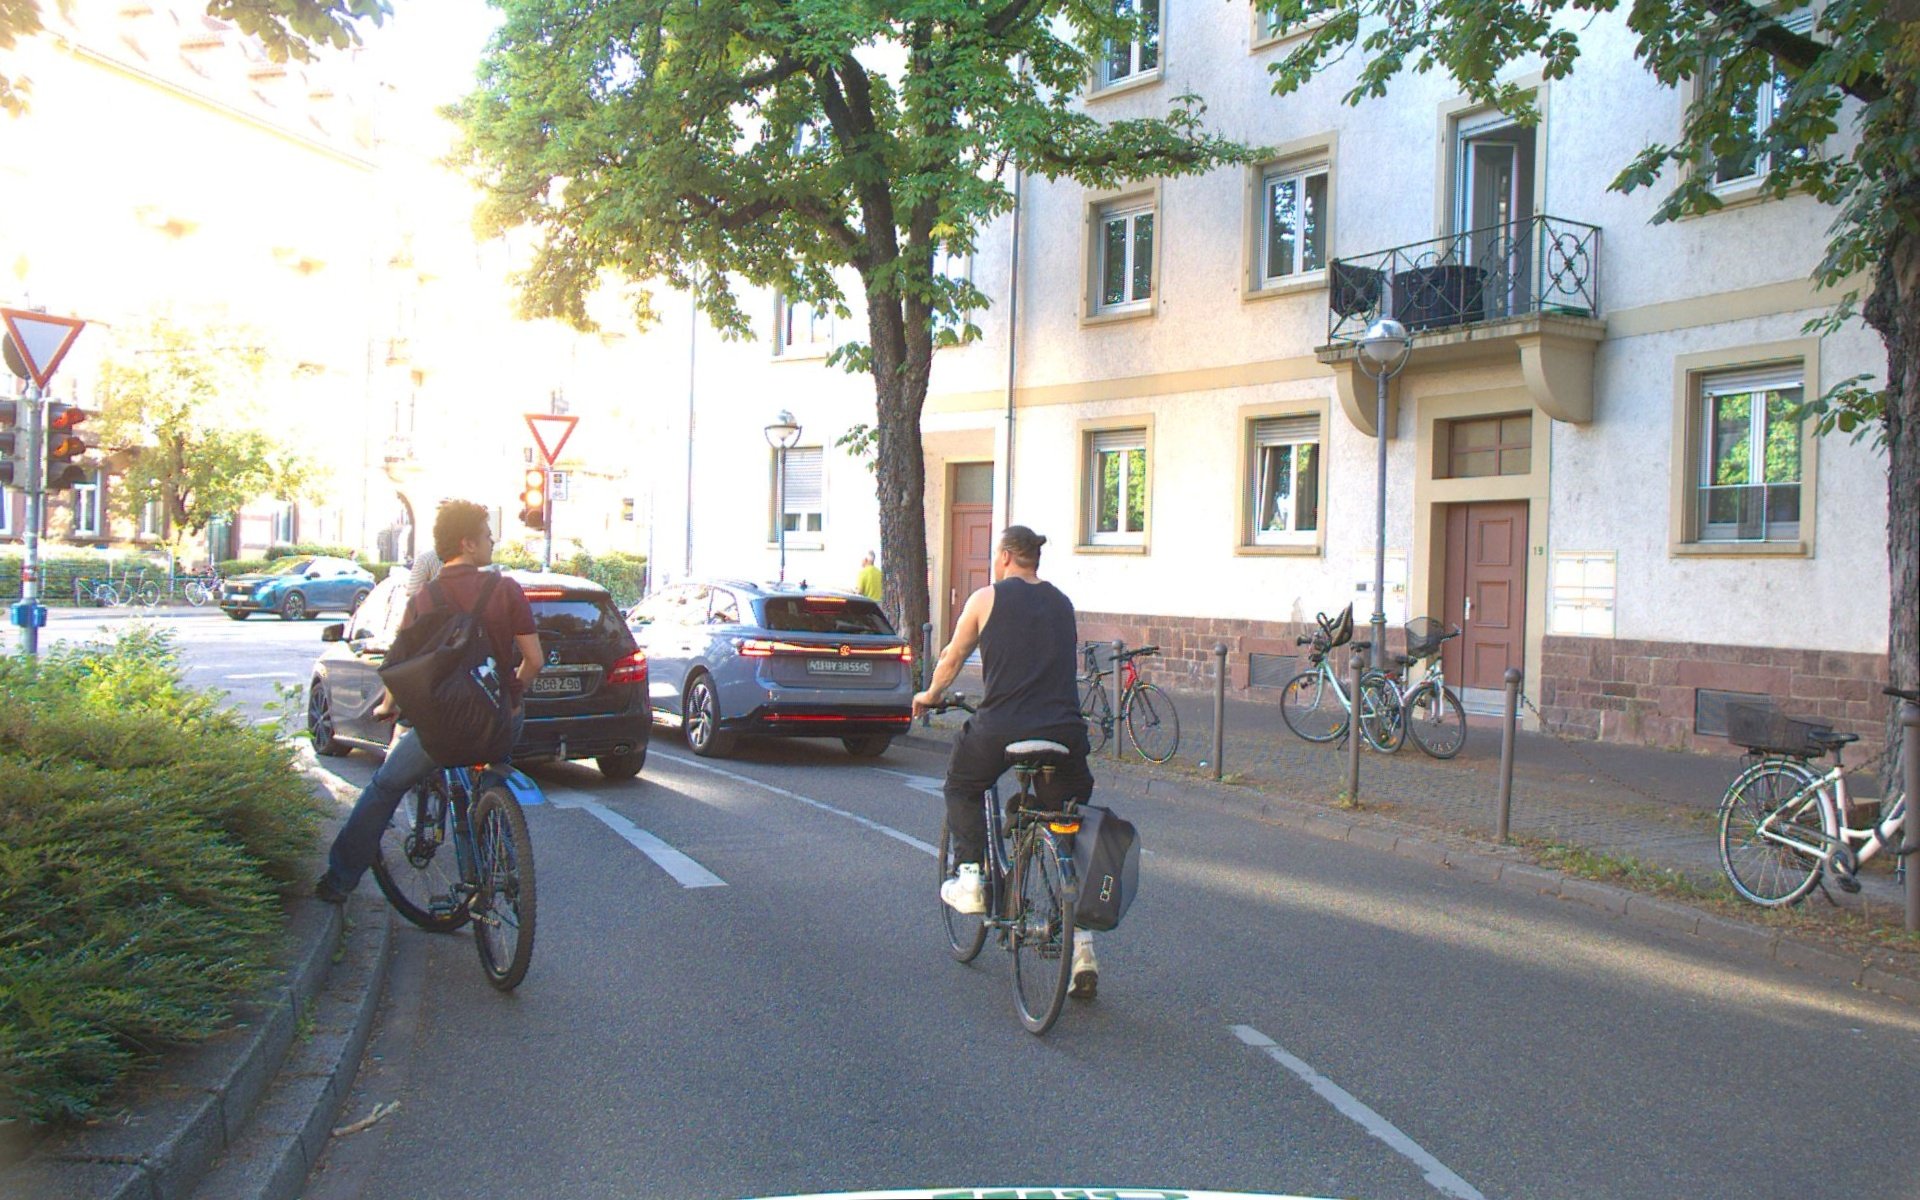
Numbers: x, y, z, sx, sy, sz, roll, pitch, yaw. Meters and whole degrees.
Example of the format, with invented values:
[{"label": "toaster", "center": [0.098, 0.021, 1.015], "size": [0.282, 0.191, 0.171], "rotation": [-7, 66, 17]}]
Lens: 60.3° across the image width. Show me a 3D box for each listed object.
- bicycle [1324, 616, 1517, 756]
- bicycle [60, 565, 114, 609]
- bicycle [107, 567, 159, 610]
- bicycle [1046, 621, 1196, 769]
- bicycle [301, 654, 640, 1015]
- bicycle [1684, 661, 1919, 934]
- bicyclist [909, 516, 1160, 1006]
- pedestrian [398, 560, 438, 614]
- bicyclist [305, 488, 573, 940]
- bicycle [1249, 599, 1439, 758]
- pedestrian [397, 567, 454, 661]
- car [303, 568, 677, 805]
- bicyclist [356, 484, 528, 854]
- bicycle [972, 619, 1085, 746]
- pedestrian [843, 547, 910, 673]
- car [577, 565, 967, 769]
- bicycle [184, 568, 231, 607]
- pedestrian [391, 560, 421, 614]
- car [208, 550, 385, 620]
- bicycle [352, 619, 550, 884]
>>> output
[{"label": "bicycle", "center": [4.119, 0.742, 14.956], "size": [0.657, 1.126, 1.956], "rotation": [2, 0, -19]}, {"label": "bicycle", "center": [-22.915, -0.348, 43.424], "size": [0.433, 1.126, 1.233], "rotation": [3, 1, 22]}, {"label": "bicycle", "center": [-22.360, -0.307, 44.736], "size": [0.433, 1.126, 1.233], "rotation": [3, 1, 22]}, {"label": "bicycle", "center": [1.374, 0.787, 14.429], "size": [0.519, 1.126, 1.728], "rotation": [-1, 2, -24]}, {"label": "bicycle", "center": [-2.028, 0.833, 6.649], "size": [0.711, 1.126, 1.943], "rotation": [2, 0, -35]}, {"label": "bicycle", "center": [4.281, 0.890, 7.648], "size": [0.505, 1.114, 1.962], "rotation": [0, 1, -20]}, {"label": "bicyclist", "center": [0.252, 0.547, 6.258], "size": [0.675, 1.685, 0.985], "rotation": [0, 1, -15]}, {"label": "pedestrian", "center": [-17.404, -0.413, 53.085], "size": [0.698, 1.693, 0.895], "rotation": [5, 2, 33]}, {"label": "bicyclist", "center": [-2.045, 0.400, 6.447], "size": [0.701, 1.601, 0.945], "rotation": [2, 0, -36]}, {"label": "bicycle", "center": [3.422, 0.661, 14.928], "size": [0.707, 1.299, 1.955], "rotation": [0, 1, -21]}, {"label": "pedestrian", "center": [-9.977, 0.258, 30.868], "size": [0.889, 1.663, 0.721], "rotation": [3, 1, -21]}, {"label": "car", "center": [-3.843, 0.535, 13.090], "size": [1.774, 1.569, 3.814], "rotation": [-1, 1, -34]}, {"label": "bicyclist", "center": [-2.923, 0.364, 9.292], "size": [0.783, 1.946, 0.938], "rotation": [2, 0, -23]}, {"label": "bicycle", "center": [0.640, 0.763, 16.002], "size": [0.474, 1.082, 1.625], "rotation": [-1, 2, -22]}, {"label": "pedestrian", "center": [-1.200, 0.121, 23.644], "size": [0.635, 1.757, 0.880], "rotation": [-1, 2, -27]}, {"label": "car", "center": [-1.950, 0.556, 15.754], "size": [1.951, 1.613, 4.427], "rotation": [4, -1, -32]}, {"label": "bicycle", "center": [-21.457, -0.351, 47.182], "size": [0.433, 1.056, 1.233], "rotation": [3, 1, 21]}, {"label": "pedestrian", "center": [-18.104, -0.420, 54.070], "size": [0.649, 1.745, 0.635], "rotation": [2, 0, 29]}, {"label": "car", "center": [-17.117, -0.367, 42.914], "size": [1.901, 1.678, 4.413], "rotation": [2, 0, 17]}, {"label": "bicycle", "center": [-2.867, 0.751, 9.153], "size": [0.799, 1.205, 2.211], "rotation": [2, 0, -23]}]
